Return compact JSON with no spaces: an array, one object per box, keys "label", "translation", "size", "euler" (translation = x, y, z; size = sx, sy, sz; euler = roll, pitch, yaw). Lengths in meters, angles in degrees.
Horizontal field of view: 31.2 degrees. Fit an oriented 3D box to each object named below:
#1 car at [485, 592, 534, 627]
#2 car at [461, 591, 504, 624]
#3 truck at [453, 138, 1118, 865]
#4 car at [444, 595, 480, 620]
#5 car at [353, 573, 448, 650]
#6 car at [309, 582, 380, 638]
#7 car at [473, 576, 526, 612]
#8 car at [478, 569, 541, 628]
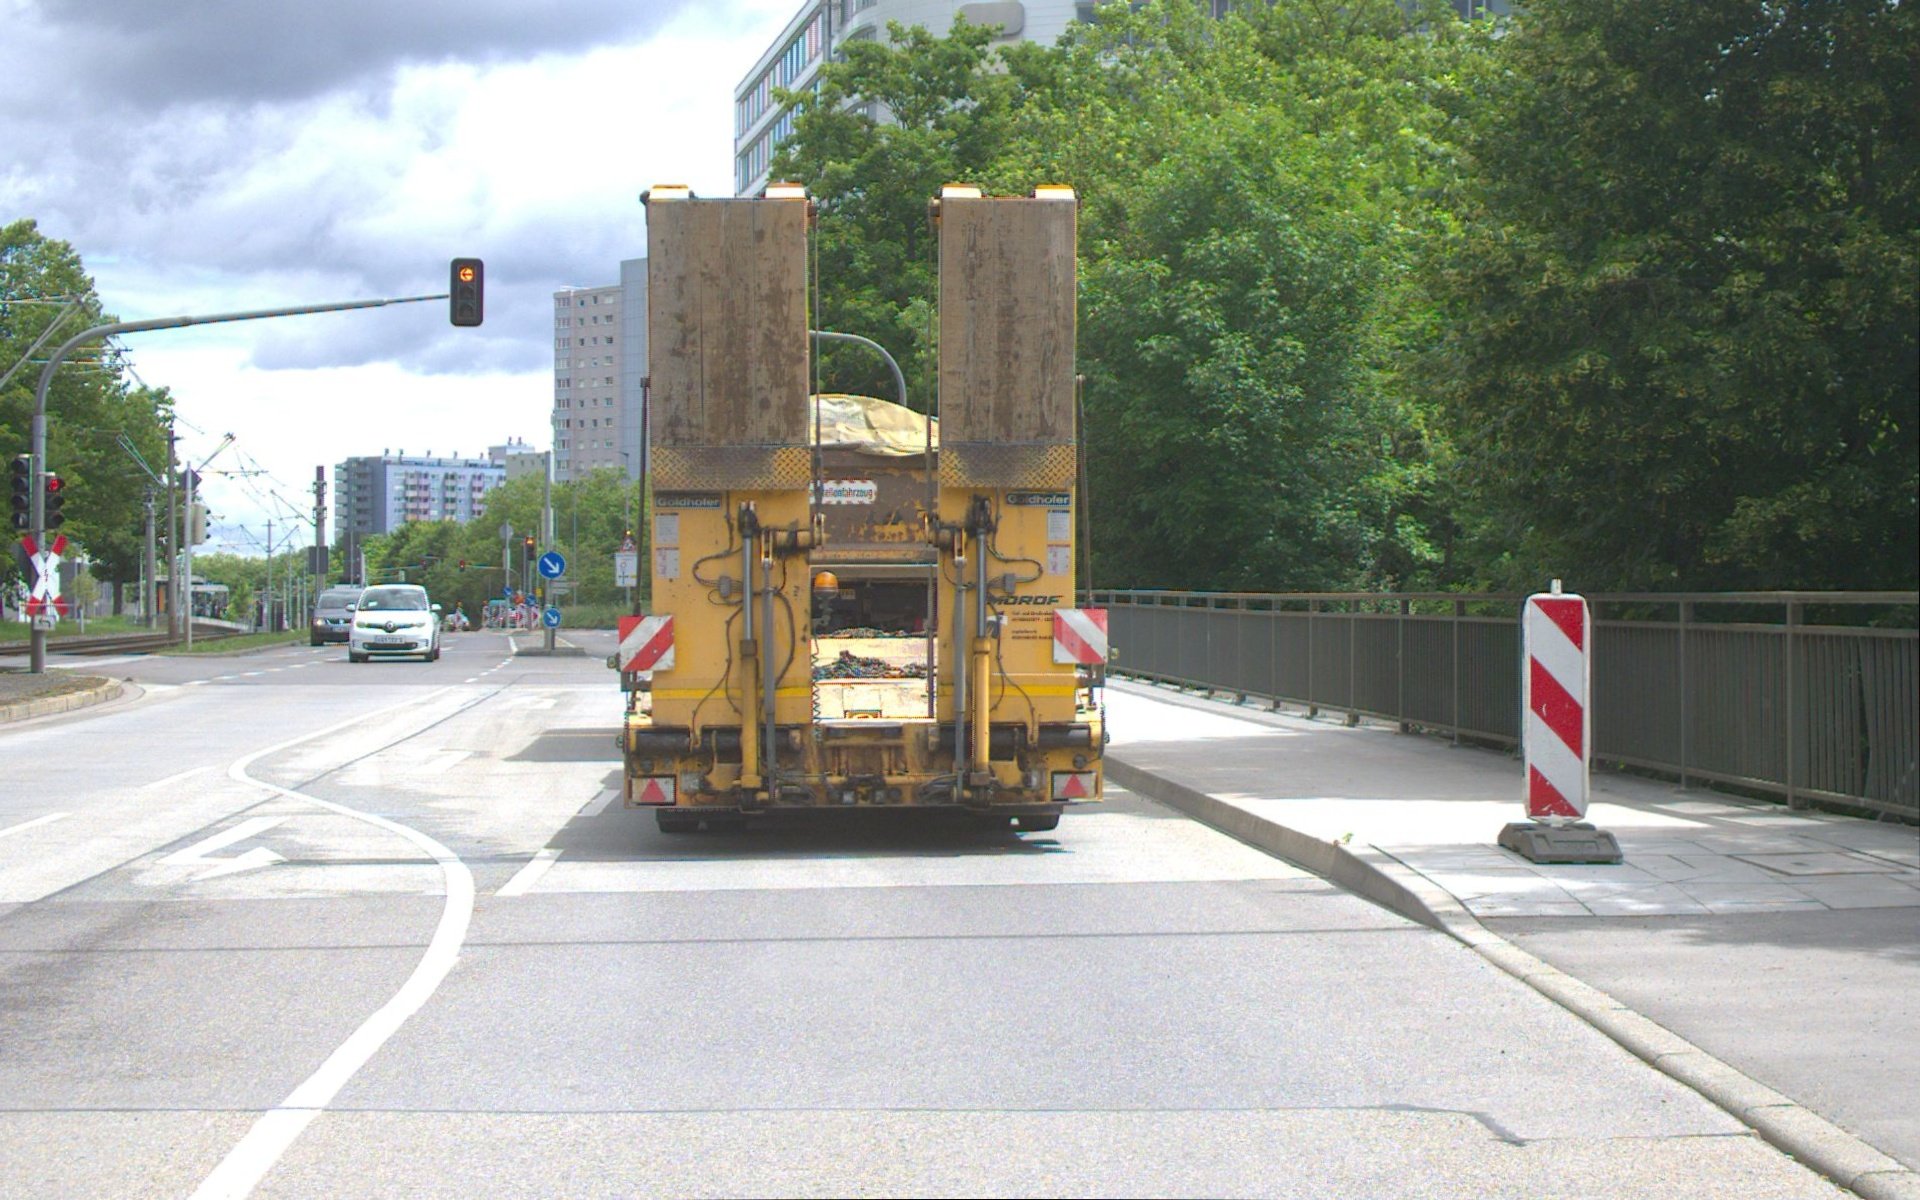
[{"label":"car","translation":[-19.702,0.414,150.575],"size":[1.993,1.415,4.001],"euler":[2,0,-6]},{"label":"car","translation":[-24.283,0.372,174.887],"size":[1.993,1.612,4.001],"euler":[2,0,-6]},{"label":"truck","translation":[-1.012,-0.508,23.920],"size":[3.316,3.638,12.562],"euler":[2,0,-1]},{"label":"car","translation":[-25.929,0.381,179.170],"size":[1.783,1.267,4.346],"euler":[0,0,-7]},{"label":"car","translation":[-11.251,0.224,69.297],"size":[1.593,1.521,3.655],"euler":[0,0,-5]},{"label":"car","translation":[-17.480,0.275,97.763],"size":[1.783,1.564,4.346],"euler":[0,0,-7]},{"label":"car","translation":[-18.809,-0.249,140.614],"size":[1.993,1.415,4.001],"euler":[2,0,-6]},{"label":"car","translation":[-15.407,-0.043,117.730],"size":[1.993,1.919,4.001],"euler":[2,0,-6]}]
